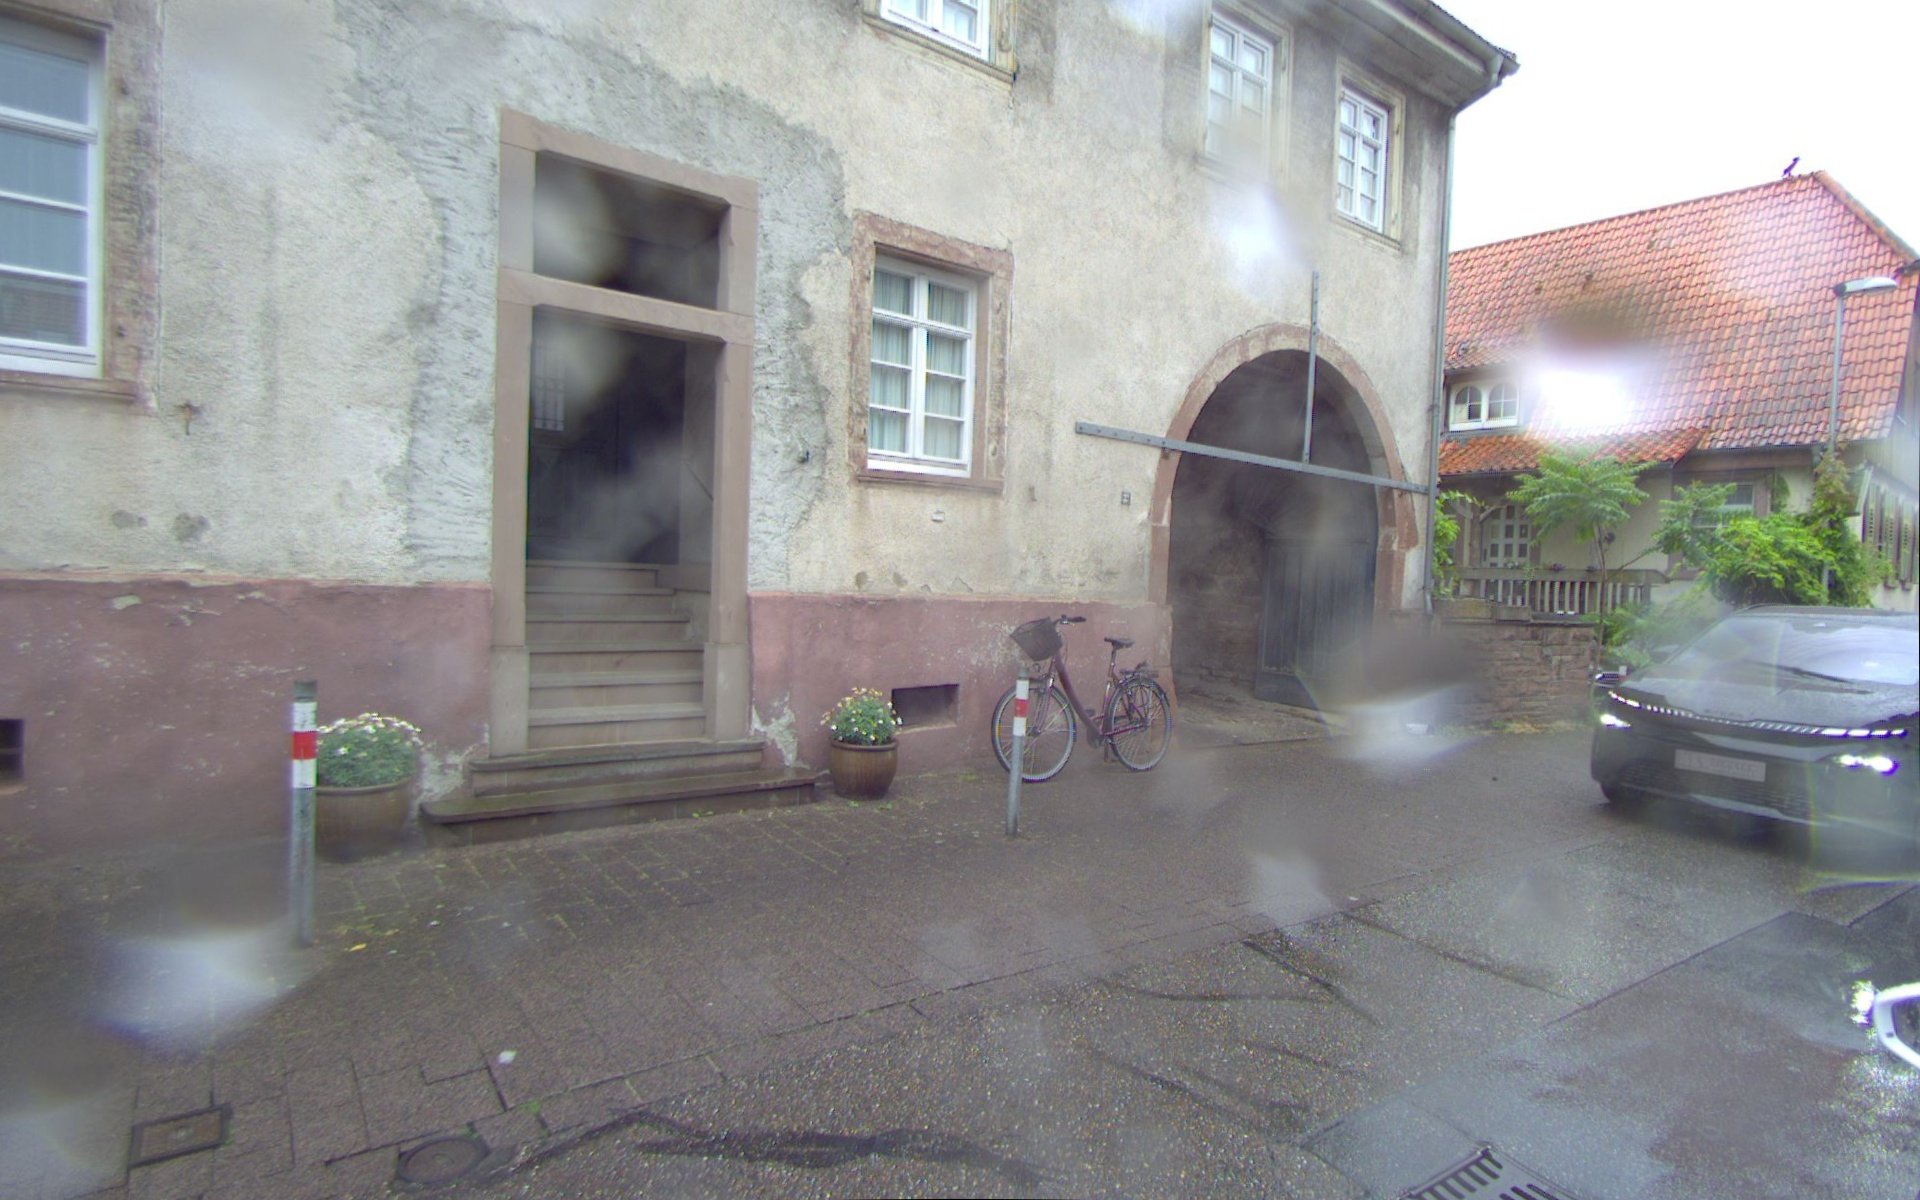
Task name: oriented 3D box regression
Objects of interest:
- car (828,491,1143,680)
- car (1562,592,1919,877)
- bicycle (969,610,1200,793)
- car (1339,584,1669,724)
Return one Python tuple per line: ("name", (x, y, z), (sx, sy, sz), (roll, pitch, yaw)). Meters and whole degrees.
("car", (0.162, -0.298, 13.527), (1.869, 1.957, 4.194), (6, 3, -37))
("car", (6.586, 0.819, 7.731), (4.199, 1.576, 1.819), (2, 1, -36))
("bicycle", (0.962, 0.693, 7.453), (1.858, 1.194, 0.478), (1, 4, -38))
("car", (7.990, 0.708, 15.162), (1.715, 1.444, 3.967), (2, 5, -30))
